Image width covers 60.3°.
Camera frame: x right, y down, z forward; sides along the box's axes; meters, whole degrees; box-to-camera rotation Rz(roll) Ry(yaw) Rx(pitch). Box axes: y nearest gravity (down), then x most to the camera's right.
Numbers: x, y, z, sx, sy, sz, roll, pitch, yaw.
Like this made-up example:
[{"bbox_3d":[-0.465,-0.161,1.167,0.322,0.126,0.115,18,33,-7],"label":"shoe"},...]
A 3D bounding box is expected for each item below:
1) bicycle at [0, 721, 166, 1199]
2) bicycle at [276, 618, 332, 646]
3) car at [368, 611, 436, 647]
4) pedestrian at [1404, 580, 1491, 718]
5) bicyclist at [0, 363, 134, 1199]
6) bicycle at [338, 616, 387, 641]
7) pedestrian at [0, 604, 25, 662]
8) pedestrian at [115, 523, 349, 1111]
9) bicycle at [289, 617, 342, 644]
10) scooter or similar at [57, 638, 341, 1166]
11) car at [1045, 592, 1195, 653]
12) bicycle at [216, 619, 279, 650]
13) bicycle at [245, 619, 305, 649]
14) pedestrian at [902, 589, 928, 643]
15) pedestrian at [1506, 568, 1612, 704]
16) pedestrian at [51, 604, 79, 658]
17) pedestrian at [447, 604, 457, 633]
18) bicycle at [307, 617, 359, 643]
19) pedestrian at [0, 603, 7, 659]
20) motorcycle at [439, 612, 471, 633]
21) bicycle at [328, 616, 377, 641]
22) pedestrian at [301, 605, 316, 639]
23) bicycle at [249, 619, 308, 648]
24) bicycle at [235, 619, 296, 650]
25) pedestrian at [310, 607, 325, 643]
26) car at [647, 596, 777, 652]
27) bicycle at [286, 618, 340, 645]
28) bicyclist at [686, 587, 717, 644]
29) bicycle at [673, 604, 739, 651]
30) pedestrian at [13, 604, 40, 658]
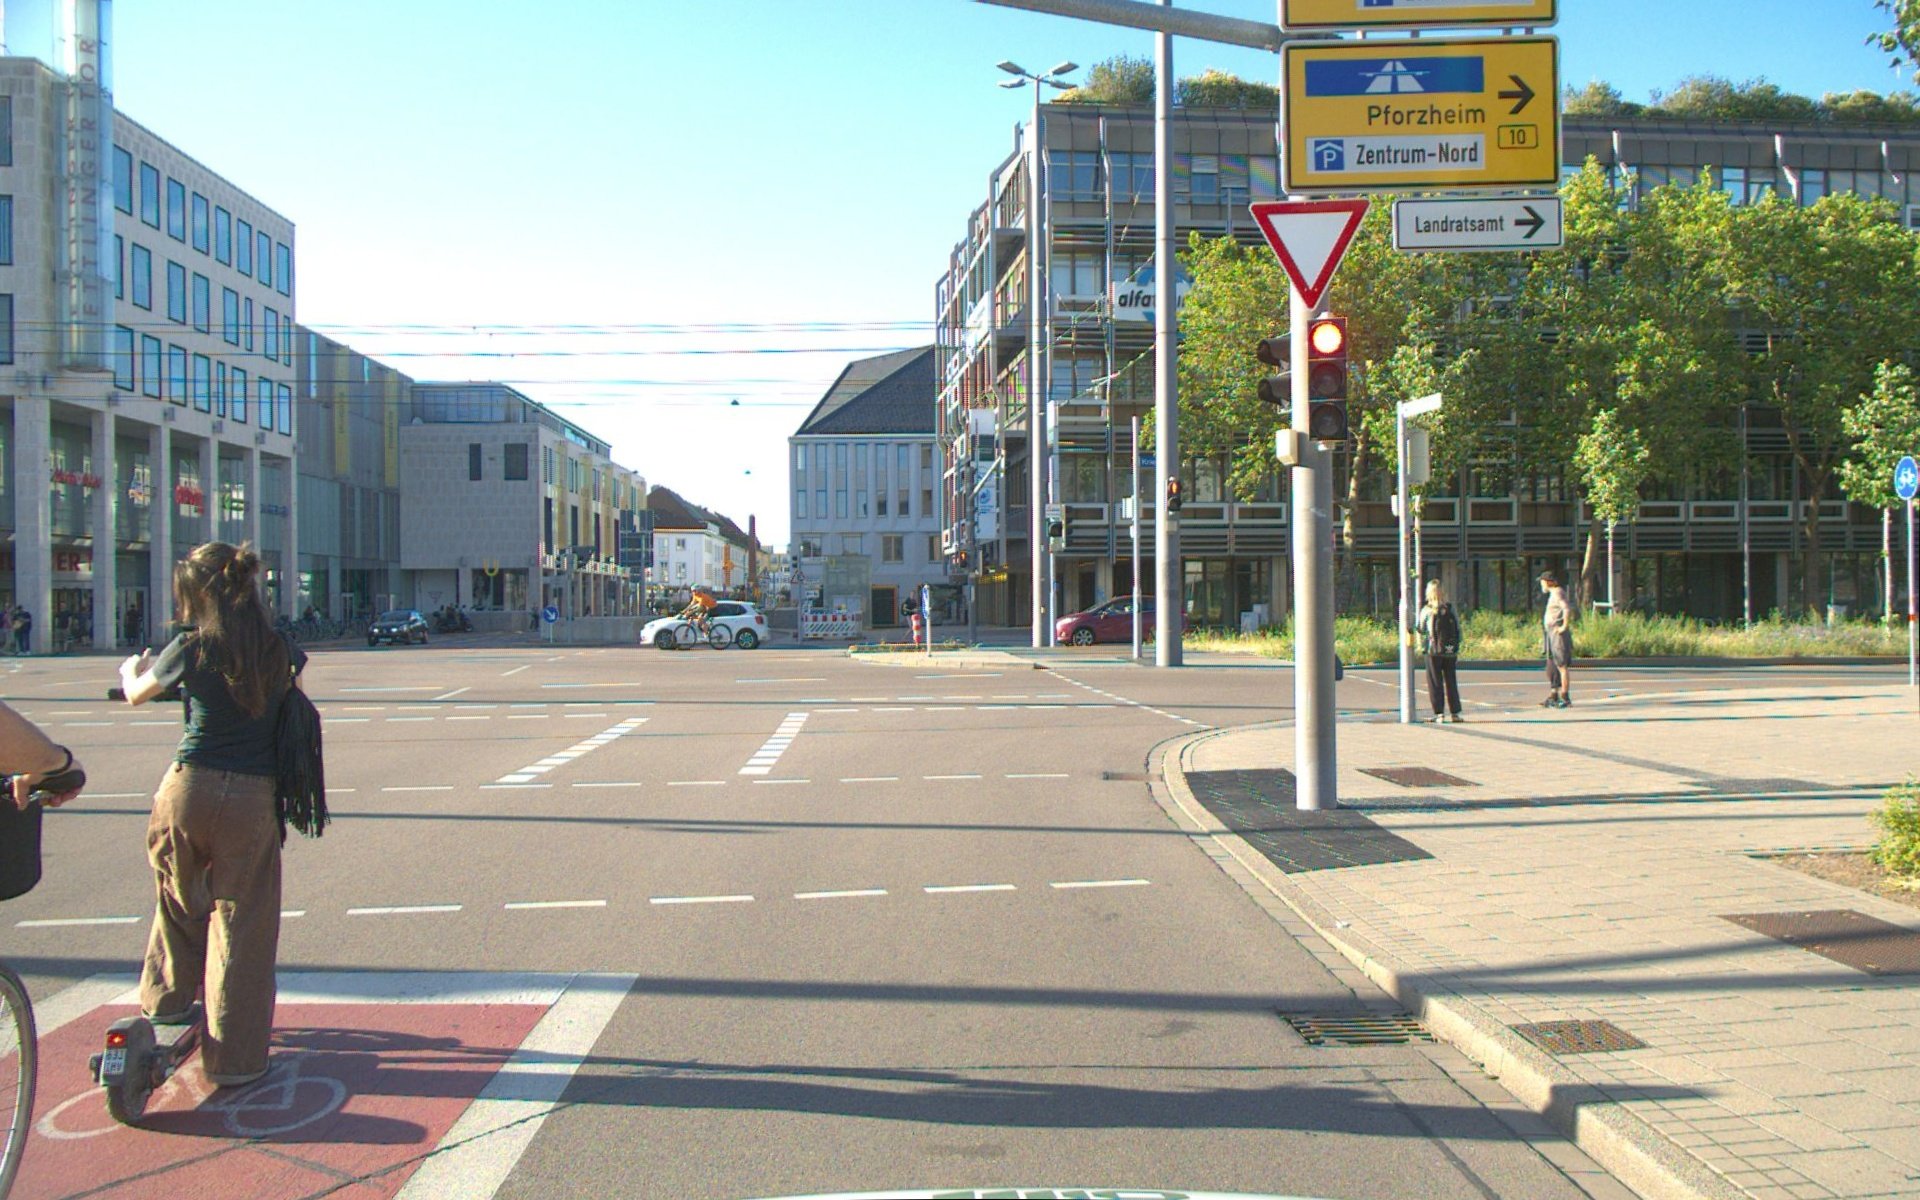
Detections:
[{"bbox_3d":[-2.082,0.869,2.926,0.475,1.176,1.831,1,0,-1],"label":"bicycle"},{"bbox_3d":[-29.607,1.452,74.696,2.260,1.244,0.611,0,0,-3],"label":"bicycle"},{"bbox_3d":[-23.381,1.209,69.482,1.597,1.365,3.998,-3,0,-3],"label":"car"},{"bbox_3d":[5.514,0.549,18.748,0.772,1.518,0.644,1,-1,-1],"label":"pedestrian"},{"bbox_3d":[-1.979,0.464,2.851,0.647,1.750,0.865,1,-1,-1],"label":"bicyclist"},{"bbox_3d":[-30.819,1.477,85.336,2.260,1.244,0.611,0,0,-3],"label":"bicycle"},{"bbox_3d":[-33.975,1.181,58.948,0.868,2.049,0.771,1,-1,-12],"label":"pedestrian"},{"bbox_3d":[-2.188,0.617,5.027,0.540,1.661,0.569,1,-1,-16],"label":"pedestrian"},{"bbox_3d":[-30.717,1.450,78.816,2.260,1.244,0.611,0,0,-3],"label":"bicycle"},{"bbox_3d":[-2.178,0.785,4.859,0.538,1.316,1.189,1,0,-15],"label":"scooter or similar"},{"bbox_3d":[4.370,0.603,45.427,3.812,1.613,1.656,-1,0,-8],"label":"car"},{"bbox_3d":[-29.336,1.428,68.114,2.260,1.244,0.611,0,0,-3],"label":"bicycle"},{"bbox_3d":[-29.293,1.440,70.754,2.260,1.244,0.611,0,0,-3],"label":"bicycle"},{"bbox_3d":[-1.607,0.562,59.158,0.629,1.923,0.790,1,-1,25],"label":"pedestrian"},{"bbox_3d":[7.686,0.452,21.251,0.866,1.694,0.958,1,-1,-22],"label":"pedestrian"},{"bbox_3d":[-31.174,1.074,57.601,0.788,1.876,0.854,0,0,-33],"label":"pedestrian"},{"bbox_3d":[-30.102,1.076,98.076,0.512,1.709,0.581,1,0,-14],"label":"pedestrian"},{"bbox_3d":[-30.337,1.462,80.049,2.260,1.244,0.611,0,0,-3],"label":"bicycle"},{"bbox_3d":[-33.216,1.051,56.868,0.706,1.918,0.780,1,-1,-28],"label":"pedestrian"},{"bbox_3d":[-29.765,1.330,97.474,1.775,1.228,0.509,1,0,-16],"label":"motorcycle"},{"bbox_3d":[-30.931,1.470,84.265,2.260,1.244,0.611,0,0,-3],"label":"bicycle"},{"bbox_3d":[-33.062,1.125,83.926,0.560,1.709,0.614,1,0,-10],"label":"pedestrian"},{"bbox_3d":[-29.507,1.440,71.631,2.260,1.244,0.611,0,0,-3],"label":"bicycle"},{"bbox_3d":[-29.129,1.437,69.400,2.260,1.244,0.611,0,0,-3],"label":"bicycle"},{"bbox_3d":[-31.457,1.224,80.934,0.639,1.749,0.447,0,0,-25],"label":"pedestrian"},{"bbox_3d":[-7.506,0.726,50.307,3.825,1.613,1.656,1,0,-8],"label":"car"},{"bbox_3d":[-30.068,1.453,76.846,2.260,1.244,0.611,0,0,-3],"label":"bicycle"},{"bbox_3d":[-6.620,0.395,42.293,0.700,1.462,0.494,1,-1,-18],"label":"bicyclist"},{"bbox_3d":[-6.501,0.693,42.342,1.619,1.175,0.494,1,-1,-18],"label":"bicycle"},{"bbox_3d":[-32.865,1.082,58.261,0.787,1.876,0.856,0,0,-29],"label":"pedestrian"}]
